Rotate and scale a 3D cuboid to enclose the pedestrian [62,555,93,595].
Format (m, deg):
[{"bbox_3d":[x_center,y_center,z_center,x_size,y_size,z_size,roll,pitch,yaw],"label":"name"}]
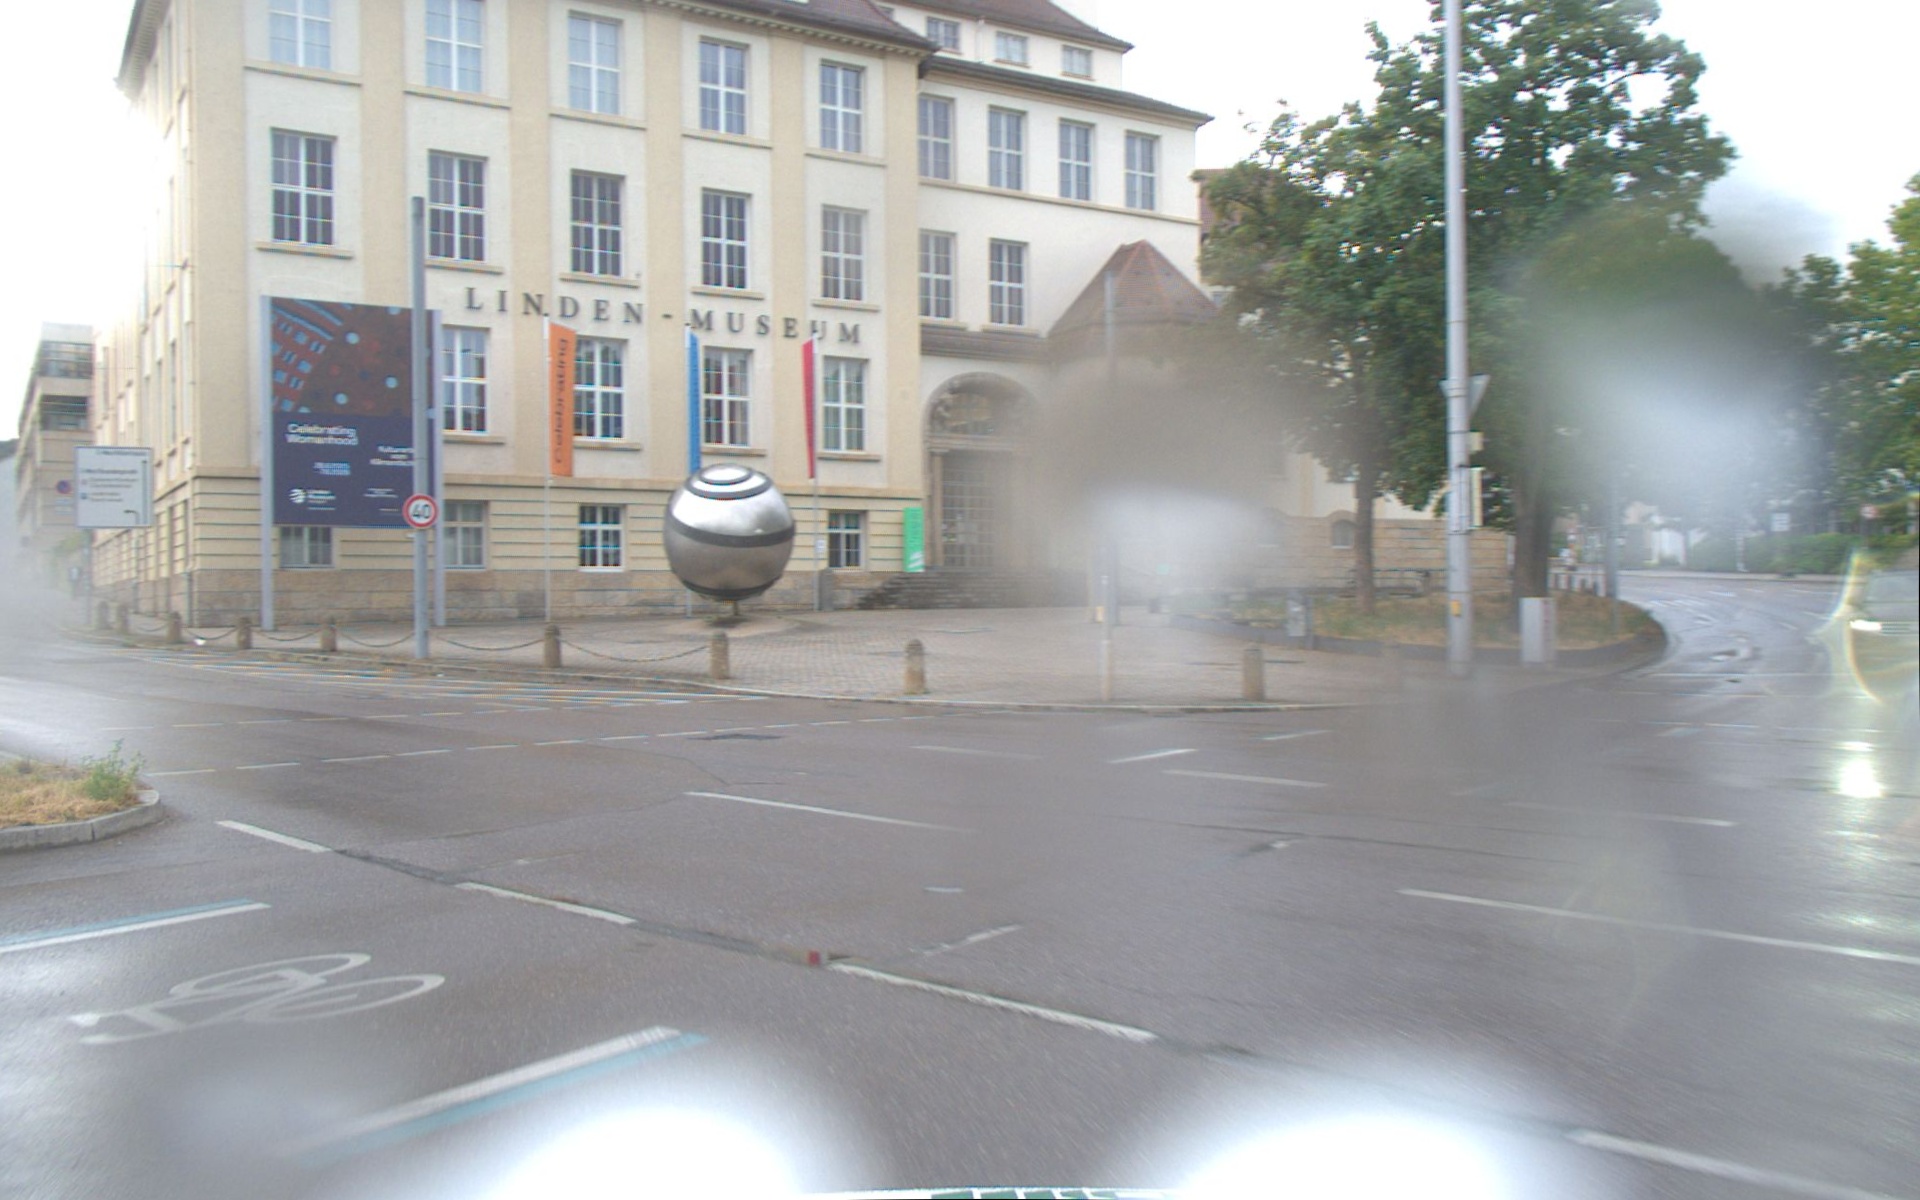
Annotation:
[{"bbox_3d":[-41.174,-1.175,77.187,1.226,1.819,1.580,-2,2,-28],"label":"pedestrian"}]

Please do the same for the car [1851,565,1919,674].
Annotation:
[{"bbox_3d":[15.480,0.256,26.704,1.833,1.592,4.269,-1,1,29],"label":"car"}]
